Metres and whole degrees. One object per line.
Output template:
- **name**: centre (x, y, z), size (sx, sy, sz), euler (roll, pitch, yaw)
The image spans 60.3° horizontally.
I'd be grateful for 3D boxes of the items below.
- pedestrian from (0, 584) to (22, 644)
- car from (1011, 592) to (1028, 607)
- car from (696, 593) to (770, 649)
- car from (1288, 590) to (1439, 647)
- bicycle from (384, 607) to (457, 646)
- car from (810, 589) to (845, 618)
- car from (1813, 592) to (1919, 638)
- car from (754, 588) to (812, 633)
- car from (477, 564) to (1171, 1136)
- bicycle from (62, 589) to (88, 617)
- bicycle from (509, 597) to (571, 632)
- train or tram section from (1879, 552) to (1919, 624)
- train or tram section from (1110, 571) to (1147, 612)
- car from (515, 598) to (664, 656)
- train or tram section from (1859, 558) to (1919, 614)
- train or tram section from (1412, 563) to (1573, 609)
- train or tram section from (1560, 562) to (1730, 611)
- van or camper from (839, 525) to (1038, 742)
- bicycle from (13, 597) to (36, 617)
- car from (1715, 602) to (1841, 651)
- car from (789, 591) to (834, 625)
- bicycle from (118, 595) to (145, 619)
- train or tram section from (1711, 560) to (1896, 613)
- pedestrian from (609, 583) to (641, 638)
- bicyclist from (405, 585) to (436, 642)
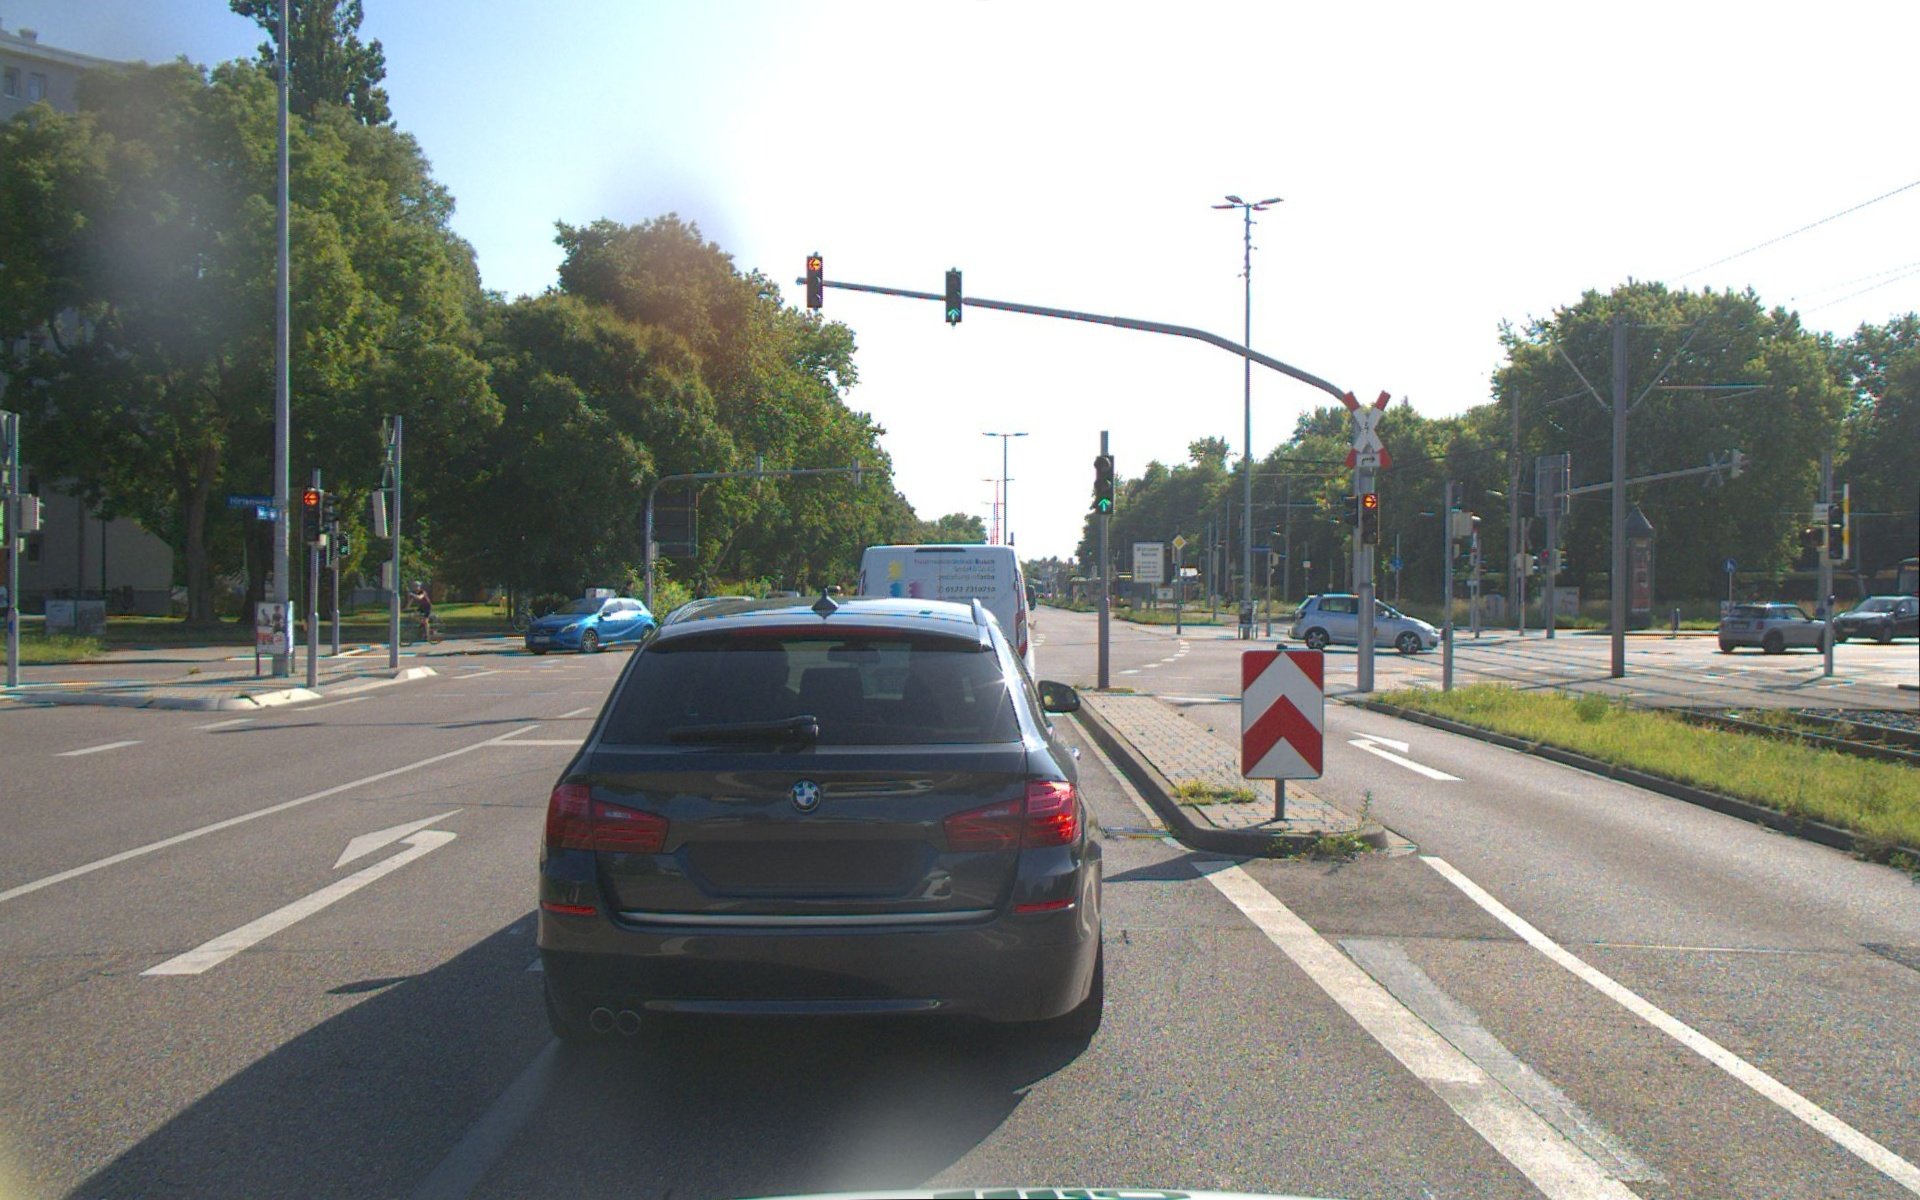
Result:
- **pedestrian**: centre (-28.050, 0.404, 48.515), size (0.610, 1.743, 0.705), euler (0, 1, 11)
- **car**: centre (6.138, -0.075, 171.715), size (1.756, 1.512, 3.901), euler (0, 0, 2)
- **car**: centre (-6.504, 0.576, 47.744), size (1.668, 1.490, 4.367), euler (-1, 0, -3)
- **car**: centre (11.530, 0.503, 47.310), size (4.101, 1.590, 1.857), euler (0, 0, 15)
- **bicycle**: centre (-15.305, 0.738, 46.958), size (0.609, 1.058, 2.066), euler (0, 0, 33)
- **car**: centre (-7.246, 0.171, 90.761), size (1.753, 1.546, 3.998), euler (-1, 0, -3)
- **car**: centre (32.836, 0.504, 58.944), size (4.792, 1.590, 2.025), euler (0, 0, -29)
- **car**: centre (-6.608, 0.385, 62.143), size (1.709, 1.589, 4.000), euler (-2, 0, 0)
- **car**: centre (-0.386, 0.661, 6.488), size (1.864, 1.532, 4.064), euler (0, 0, -1)
- **bicycle**: centre (-35.032, 0.118, 65.458), size (0.606, 1.085, 1.892), euler (1, -2, -37)
- **bicycle**: centre (-13.807, 0.488, 54.441), size (1.870, 1.138, 0.632), euler (0, 0, -1)
- **train or tram section**: centre (53.146, -0.614, 87.887), size (11.721, 3.642, 3.015), euler (0, 0, -37)
- **train or tram section**: centre (15.556, -0.723, 153.423), size (2.738, 3.681, 12.960), euler (1, 0, 3)
- **car**: centre (-9.813, 0.688, 44.111), size (1.743, 1.439, 4.243), euler (0, 0, 23)
- **train or tram section**: centre (63.753, -0.931, 108.479), size (2.981, 3.642, 12.231), euler (0, 0, 0)
- **train or tram section**: centre (43.536, -1.136, 135.483), size (12.170, 3.642, 3.048), euler (0, 0, 31)
- **train or tram section**: centre (53.297, -1.042, 128.971), size (11.984, 3.642, 3.043), euler (0, 0, 36)
- **van or camper**: centre (-0.179, 0.316, 18.583), size (1.952, 2.133, 4.599), euler (0, 0, 1)
- **bicycle**: centre (-36.599, 0.265, 64.702), size (0.578, 0.721, 2.211), euler (0, 1, -35)
- **car**: centre (24.349, 0.773, 49.234), size (3.474, 1.408, 1.594), euler (0, 0, -25)
- **car**: centre (-6.713, 0.354, 75.240), size (1.851, 1.499, 4.098), euler (-1, 0, -3)
- **bicycle**: centre (-33.468, 0.266, 66.820), size (0.663, 0.936, 2.377), euler (0, 1, -35)
- **train or tram section**: centre (60.938, -0.956, 119.880), size (3.017, 3.642, 12.087), euler (0, 0, -34)
- **pedestrian**: centre (-11.005, 0.333, 54.397), size (0.798, 1.782, 0.932), euler (0, 0, 5)
- **bicyclist**: centre (-15.314, 0.383, 46.956), size (0.596, 1.587, 0.601), euler (0, 0, 34)
